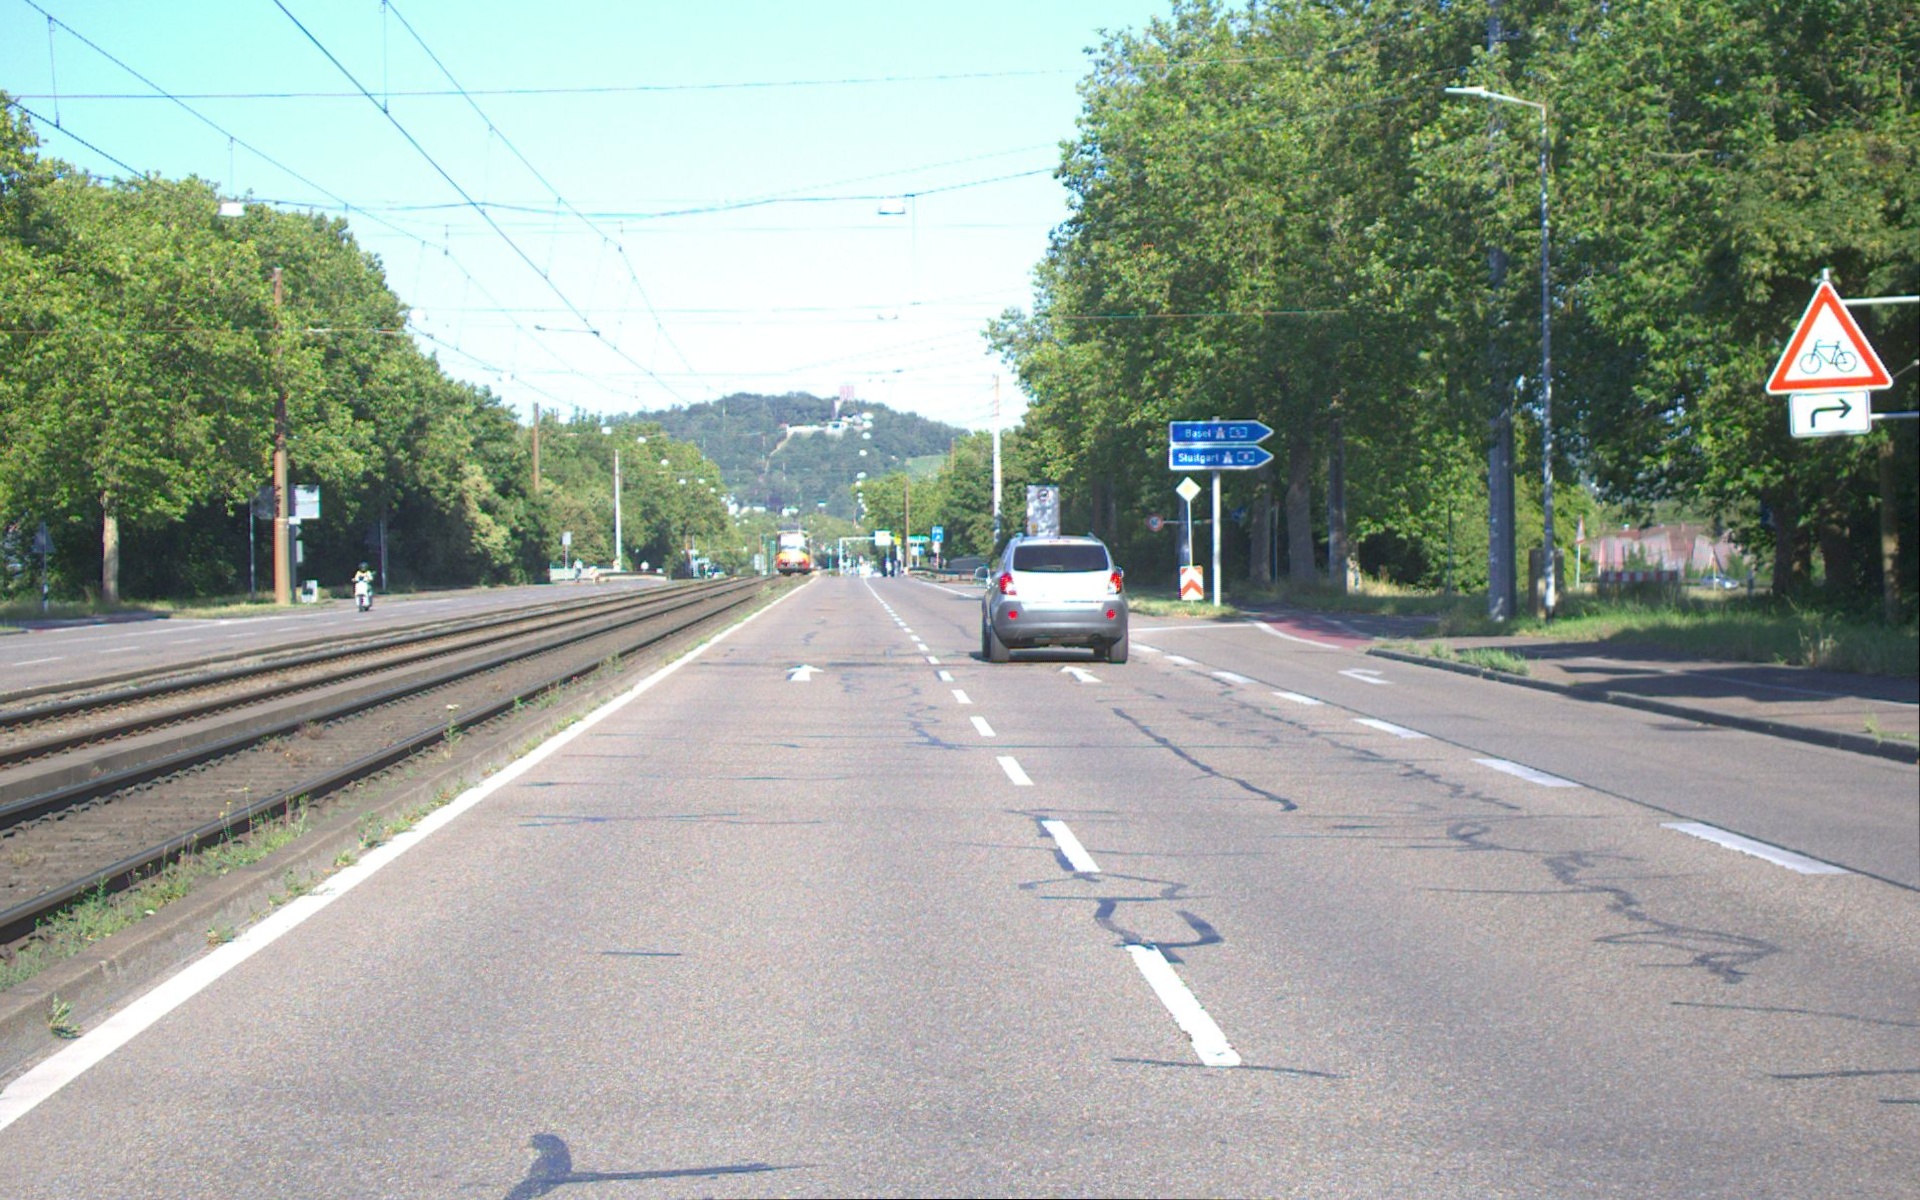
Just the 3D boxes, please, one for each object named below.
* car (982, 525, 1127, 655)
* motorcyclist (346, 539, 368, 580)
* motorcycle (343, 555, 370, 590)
[{"bbox_3d":[1.251,-0.142,46.988,1.888,1.688,4.256,0,0,0],"label":"car"},{"bbox_3d":[-18.739,-1.258,106.808,0.535,1.266,0.805,2,0,-2],"label":"motorcyclist"},{"bbox_3d":[-18.750,-0.855,106.768,0.535,1.087,1.902,2,0,-2],"label":"motorcycle"}]
